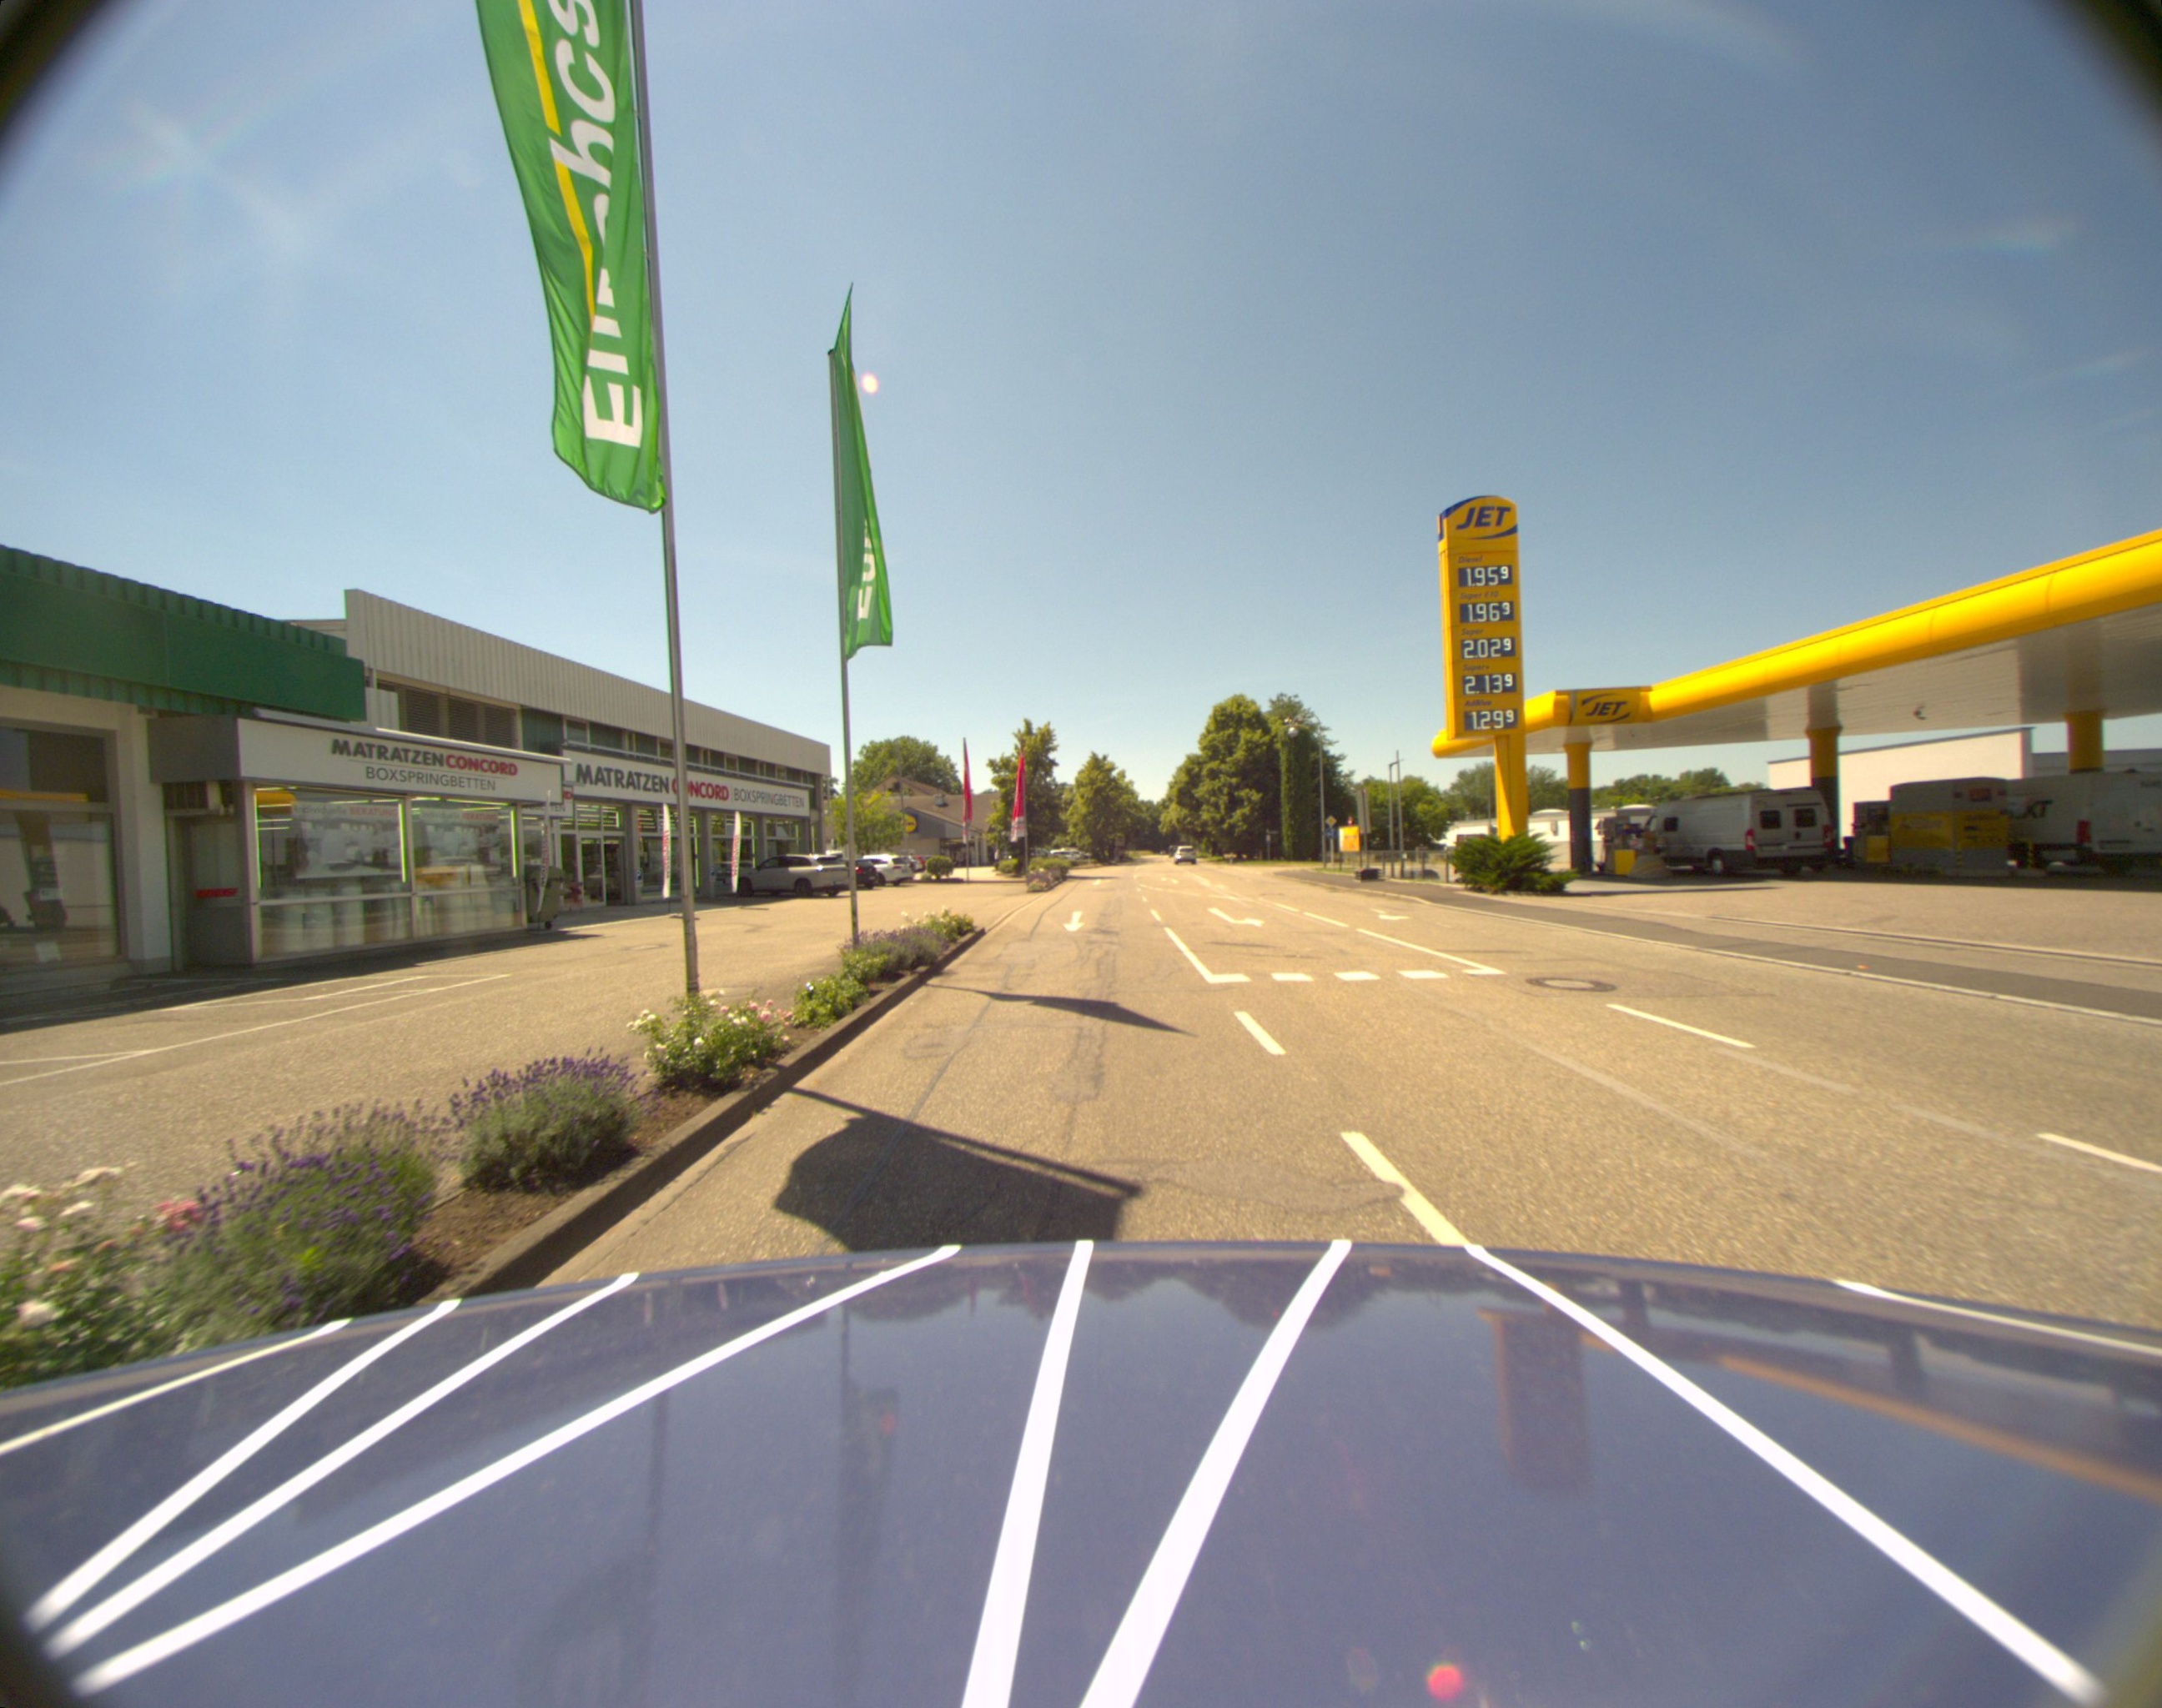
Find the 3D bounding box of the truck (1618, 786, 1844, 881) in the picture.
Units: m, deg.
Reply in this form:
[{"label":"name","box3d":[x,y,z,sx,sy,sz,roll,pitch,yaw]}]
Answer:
[{"label":"truck","box3d":[20.167,-0.612,24.183,2.237,2.583,6.735,-1,1,9]}]

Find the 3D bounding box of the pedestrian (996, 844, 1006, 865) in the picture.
[{"label":"pedestrian","box3d":[-7.840,0.045,74.239,0.784,2.002,0.803,-1,1,4]}]

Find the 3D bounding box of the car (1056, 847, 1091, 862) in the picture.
[{"label":"car","box3d":[-0.694,0.065,75.831,3.405,1.497,1.582,-1,0,2]}]

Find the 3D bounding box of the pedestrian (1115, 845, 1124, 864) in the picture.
[{"label":"pedestrian","box3d":[3.574,0.062,70.936,0.730,1.779,0.621,-1,1,14]}]

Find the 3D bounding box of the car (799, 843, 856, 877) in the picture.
[{"label":"car","box3d":[-14.752,0.301,44.456,1.709,1.880,4.256,-1,1,2]}]

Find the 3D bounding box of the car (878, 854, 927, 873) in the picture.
[{"label":"car","box3d":[-15.414,0.782,65.714,3.730,1.495,1.819,-2,1,5]}]

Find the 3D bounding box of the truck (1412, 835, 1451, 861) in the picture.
[{"label":"truck","box3d":[42.446,-0.714,92.350,2.437,2.911,8.170,-2,0,11]}]

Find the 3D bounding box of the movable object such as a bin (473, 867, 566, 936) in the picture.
[{"label":"movable object such as a bin","box3d":[-12.279,1.024,16.634,1.566,1.414,0.702,2,1,8]}]

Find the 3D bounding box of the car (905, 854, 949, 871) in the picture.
[{"label":"car","box3d":[-14.227,0.778,70.451,3.604,1.409,1.672,-2,1,5]}]

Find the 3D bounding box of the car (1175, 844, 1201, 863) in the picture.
[{"label":"car","box3d":[9.682,-0.036,69.096,1.973,1.663,4.249,-1,0,3]}]

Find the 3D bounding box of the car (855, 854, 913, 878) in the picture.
[{"label":"car","box3d":[-15.266,0.933,58.964,3.996,1.780,1.776,-1,1,3]}]

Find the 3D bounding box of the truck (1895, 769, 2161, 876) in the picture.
[{"label":"truck","box3d":[27.457,-0.838,21.650,2.921,2.583,6.608,-1,1,17]}]

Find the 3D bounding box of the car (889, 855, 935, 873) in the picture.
[{"label":"car","box3d":[-15.146,0.881,68.044,3.604,1.449,1.746,-2,1,5]}]

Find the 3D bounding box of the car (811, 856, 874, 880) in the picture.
[{"label":"car","box3d":[-17.274,0.983,55.159,3.997,1.523,1.652,-2,1,0]}]

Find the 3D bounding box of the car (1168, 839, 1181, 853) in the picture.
[{"label":"car","box3d":[14.616,-1.251,118.652,1.799,1.761,4.368,3,-2,4]}]

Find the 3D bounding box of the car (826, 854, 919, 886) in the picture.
[{"label":"car","box3d":[-10.211,0.769,37.318,3.992,1.452,1.807,-1,1,17]}]

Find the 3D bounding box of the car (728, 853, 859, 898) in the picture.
[{"label":"car","box3d":[-11.254,0.801,29.784,4.586,1.632,2.003,-1,1,20]}]

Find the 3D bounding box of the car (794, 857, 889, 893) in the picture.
[{"label":"car","box3d":[-10.920,0.947,34.723,3.858,1.524,1.680,0,1,19]}]

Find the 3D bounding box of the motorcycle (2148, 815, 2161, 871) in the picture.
[{"label":"motorcycle","box3d":[31.372,-0.314,21.144,0.714,1.631,2.055,-1,1,11]}]
